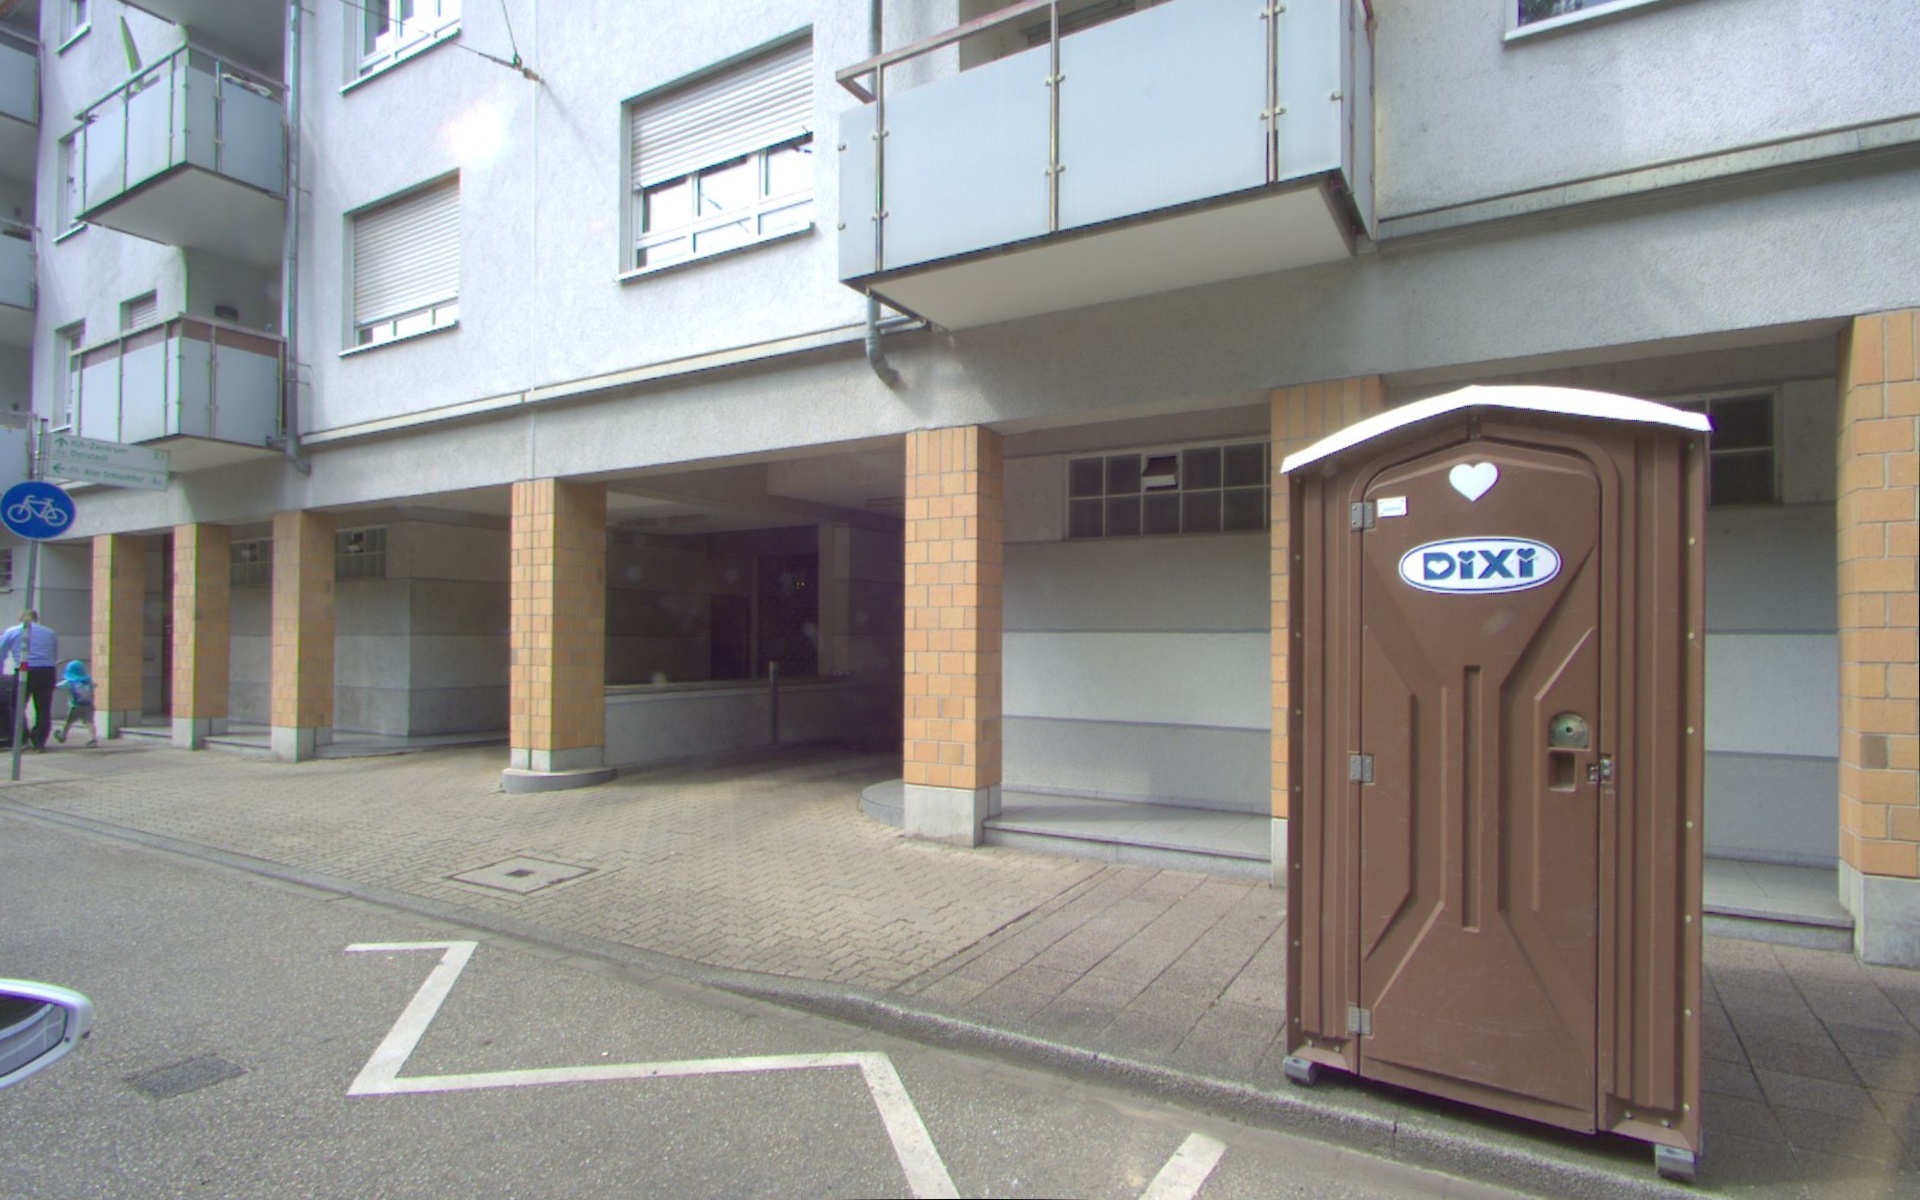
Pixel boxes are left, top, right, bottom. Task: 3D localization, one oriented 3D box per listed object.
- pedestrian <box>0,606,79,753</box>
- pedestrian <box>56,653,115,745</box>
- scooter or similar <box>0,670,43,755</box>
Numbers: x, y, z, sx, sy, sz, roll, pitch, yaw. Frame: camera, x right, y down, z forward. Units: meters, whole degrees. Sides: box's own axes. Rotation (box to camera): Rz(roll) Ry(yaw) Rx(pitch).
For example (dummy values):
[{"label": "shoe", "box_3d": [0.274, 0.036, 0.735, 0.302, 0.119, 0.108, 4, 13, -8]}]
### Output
[{"label": "pedestrian", "box_3d": [-11.650, 0.965, 12.563, 0.865, 1.762, 0.619, 0, 2, 32]}, {"label": "pedestrian", "box_3d": [-11.507, 1.287, 13.176, 0.487, 1.150, 0.455, 0, 0, 32]}, {"label": "scooter or similar", "box_3d": [-12.328, 1.435, 12.833, 0.893, 1.016, 0.591, -1, 2, 32]}]
